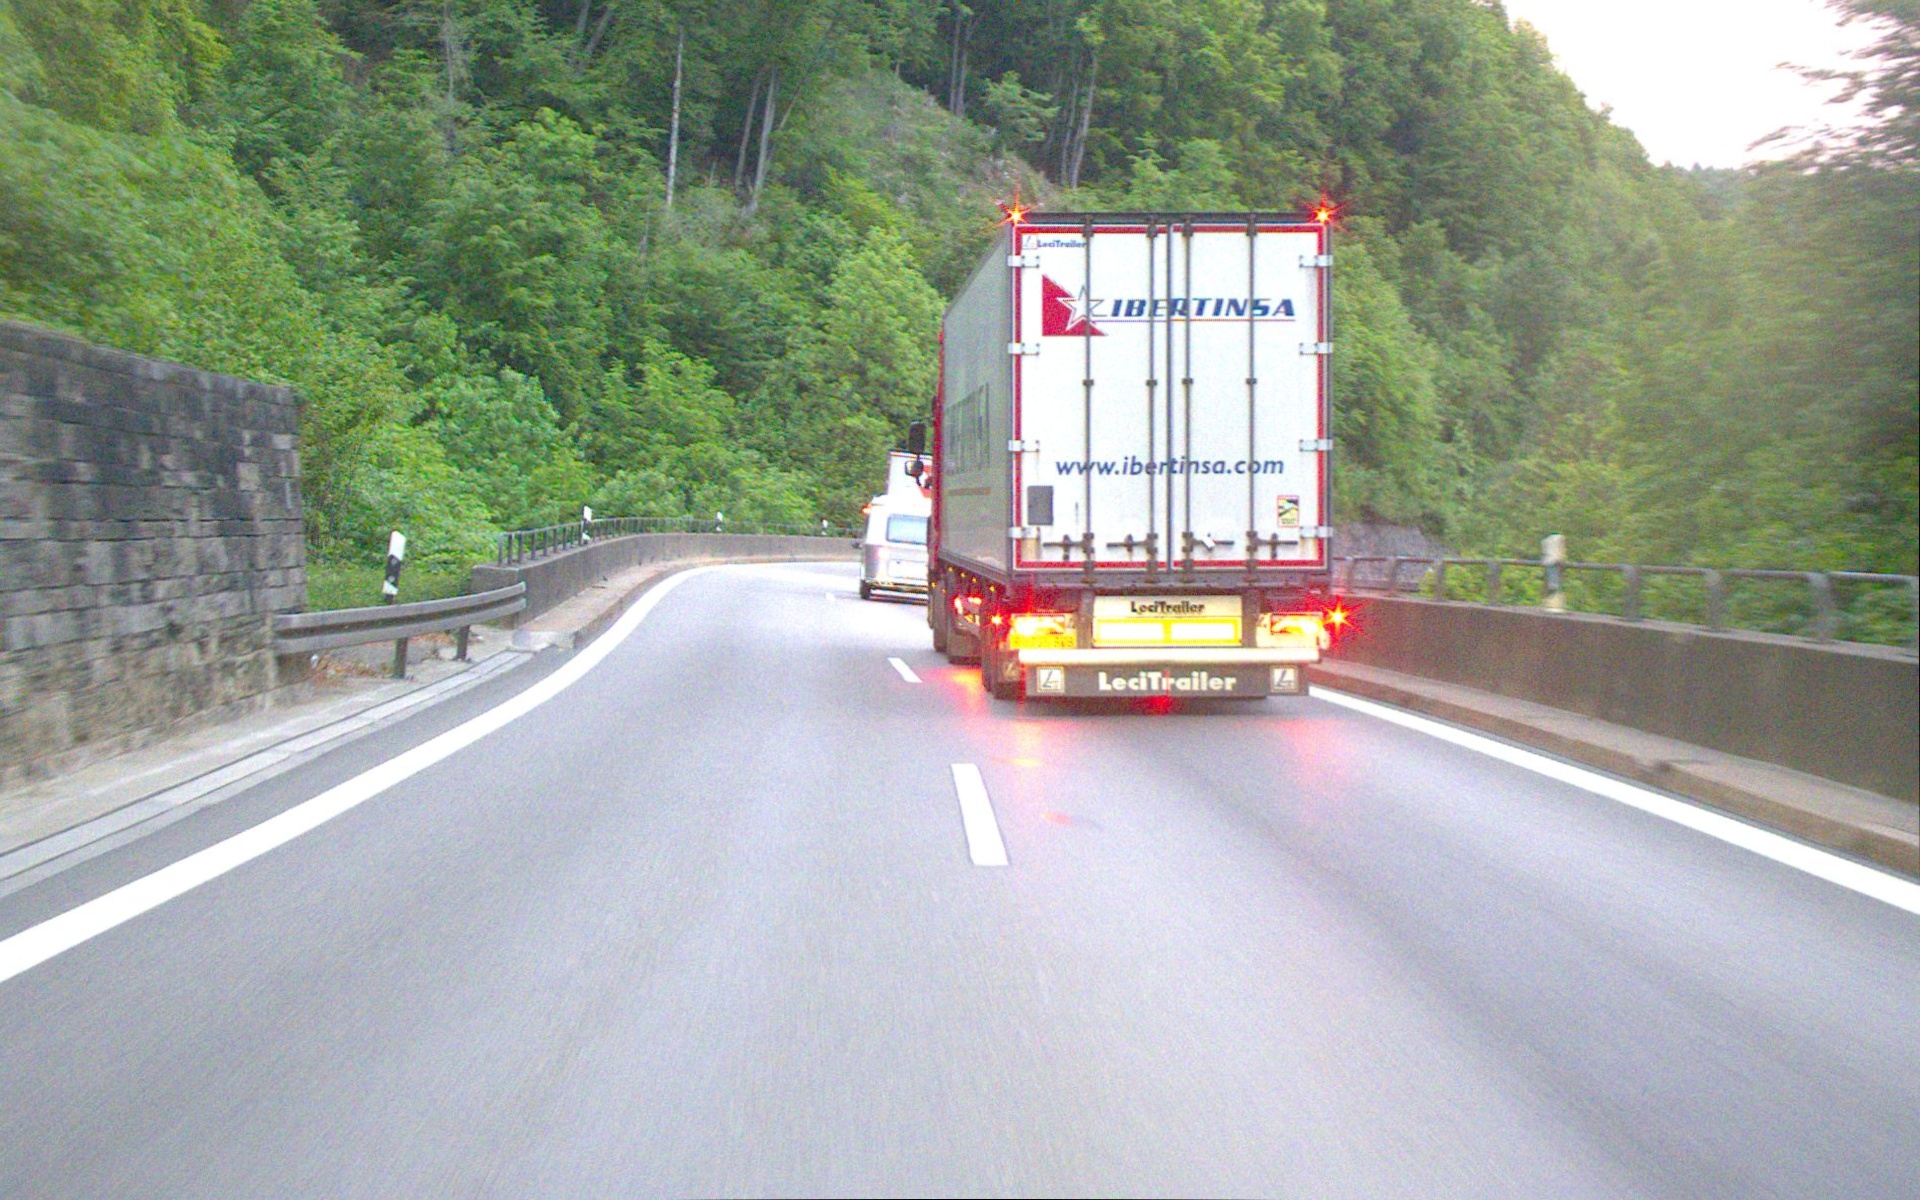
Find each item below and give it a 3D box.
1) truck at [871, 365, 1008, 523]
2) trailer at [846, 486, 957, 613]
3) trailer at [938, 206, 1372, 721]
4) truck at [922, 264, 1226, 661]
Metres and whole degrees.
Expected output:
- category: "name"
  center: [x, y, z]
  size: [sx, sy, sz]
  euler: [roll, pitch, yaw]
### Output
- category: "truck"
  center: [-0.505, -4.807, 110.382]
  size: [3.295, 4.159, 16.500]
  euler: [2, 0, 3]
- category: "trailer"
  center: [-1.253, -1.139, 74.200]
  size: [2.054, 2.366, 5.939]
  euler: [6, 2, -1]
- category: "trailer"
  center: [1.468, -1.299, 33.699]
  size: [3.097, 3.956, 14.220]
  euler: [-1, 2, -1]
- category: "truck"
  center: [1.179, -1.545, 39.745]
  size: [3.069, 4.130, 6.448]
  euler: [-2, 2, -1]
